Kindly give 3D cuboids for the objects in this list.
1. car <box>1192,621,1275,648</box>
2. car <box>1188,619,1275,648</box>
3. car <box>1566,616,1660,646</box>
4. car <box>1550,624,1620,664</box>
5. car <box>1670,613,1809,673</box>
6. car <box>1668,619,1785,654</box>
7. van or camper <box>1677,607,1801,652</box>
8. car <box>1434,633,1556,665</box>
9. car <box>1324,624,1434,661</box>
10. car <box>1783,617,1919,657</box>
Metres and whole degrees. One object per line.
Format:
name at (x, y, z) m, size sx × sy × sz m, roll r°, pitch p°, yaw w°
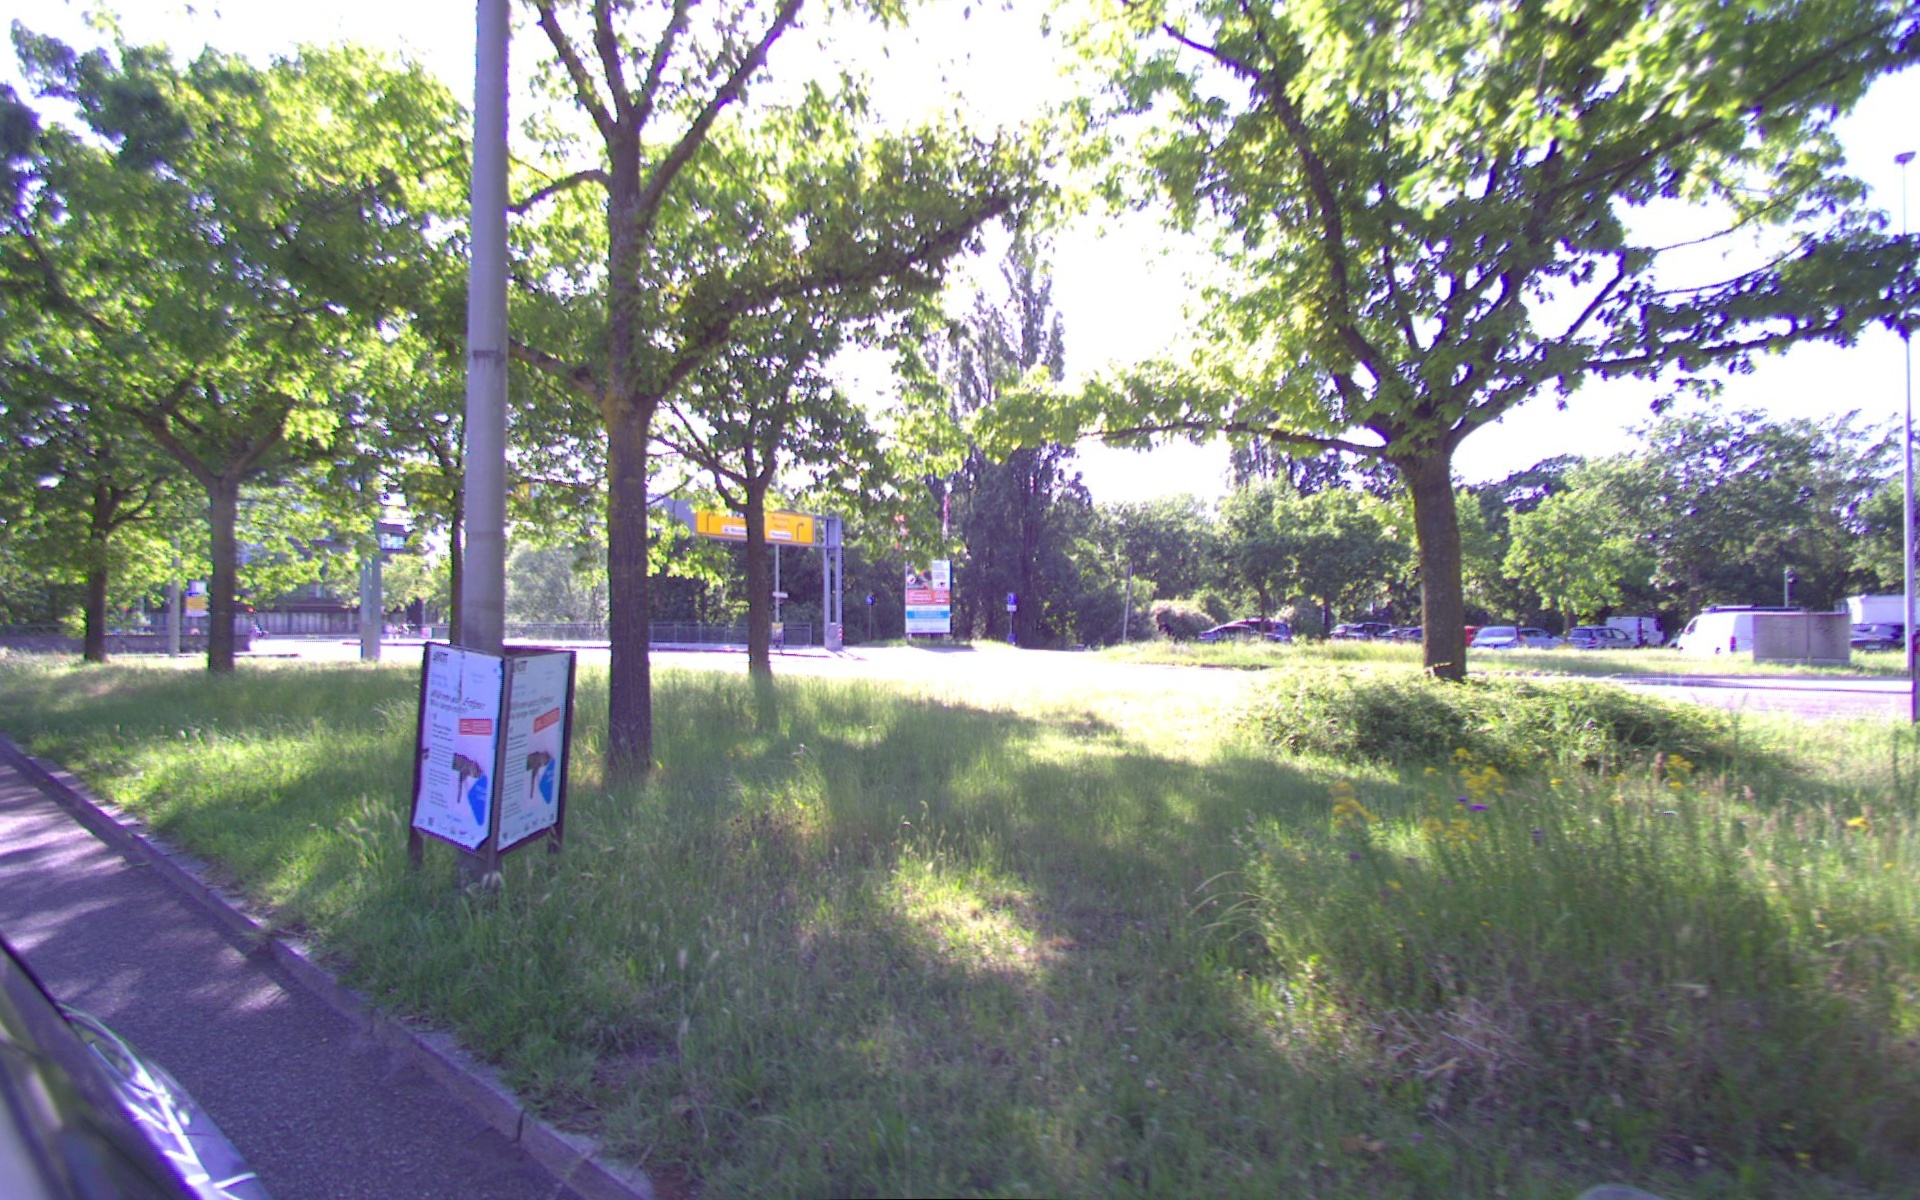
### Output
car at (16.033, 1.997, 59.546) m, size 4.509 × 1.475 × 1.993 m, roll 0°, pitch 0°, yaw 11°
car at (14.993, 1.837, 56.062) m, size 4.509 × 1.475 × 1.993 m, roll 0°, pitch 0°, yaw 11°
car at (36.534, 1.746, 56.646) m, size 1.969 × 1.521 × 4.005 m, roll 1°, pitch -3°, yaw -42°
car at (29.788, 2.055, 48.170) m, size 3.824 × 1.618 × 1.657 m, roll -3°, pitch 1°, yaw -39°
car at (28.127, 1.500, 36.761) m, size 2.219 × 2.029 × 4.975 m, roll -1°, pitch -1°, yaw 15°
car at (36.501, 1.723, 48.295) m, size 1.936 × 1.484 × 4.011 m, roll -2°, pitch 0°, yaw -33°
van or camper at (38.342, 1.418, 49.912) m, size 1.966 × 2.112 × 4.413 m, roll 1°, pitch -1°, yaw -33°
car at (20.662, 1.873, 39.135) m, size 3.990 × 1.137 × 1.801 m, roll -1°, pitch -1°, yaw 34°
car at (17.551, 1.753, 42.576) m, size 1.791 × 1.459 × 4.012 m, roll 0°, pitch -1°, yaw -30°
car at (31.041, 1.245, 35.388) m, size 1.981 × 1.292 × 3.981 m, roll -1°, pitch -1°, yaw 15°
